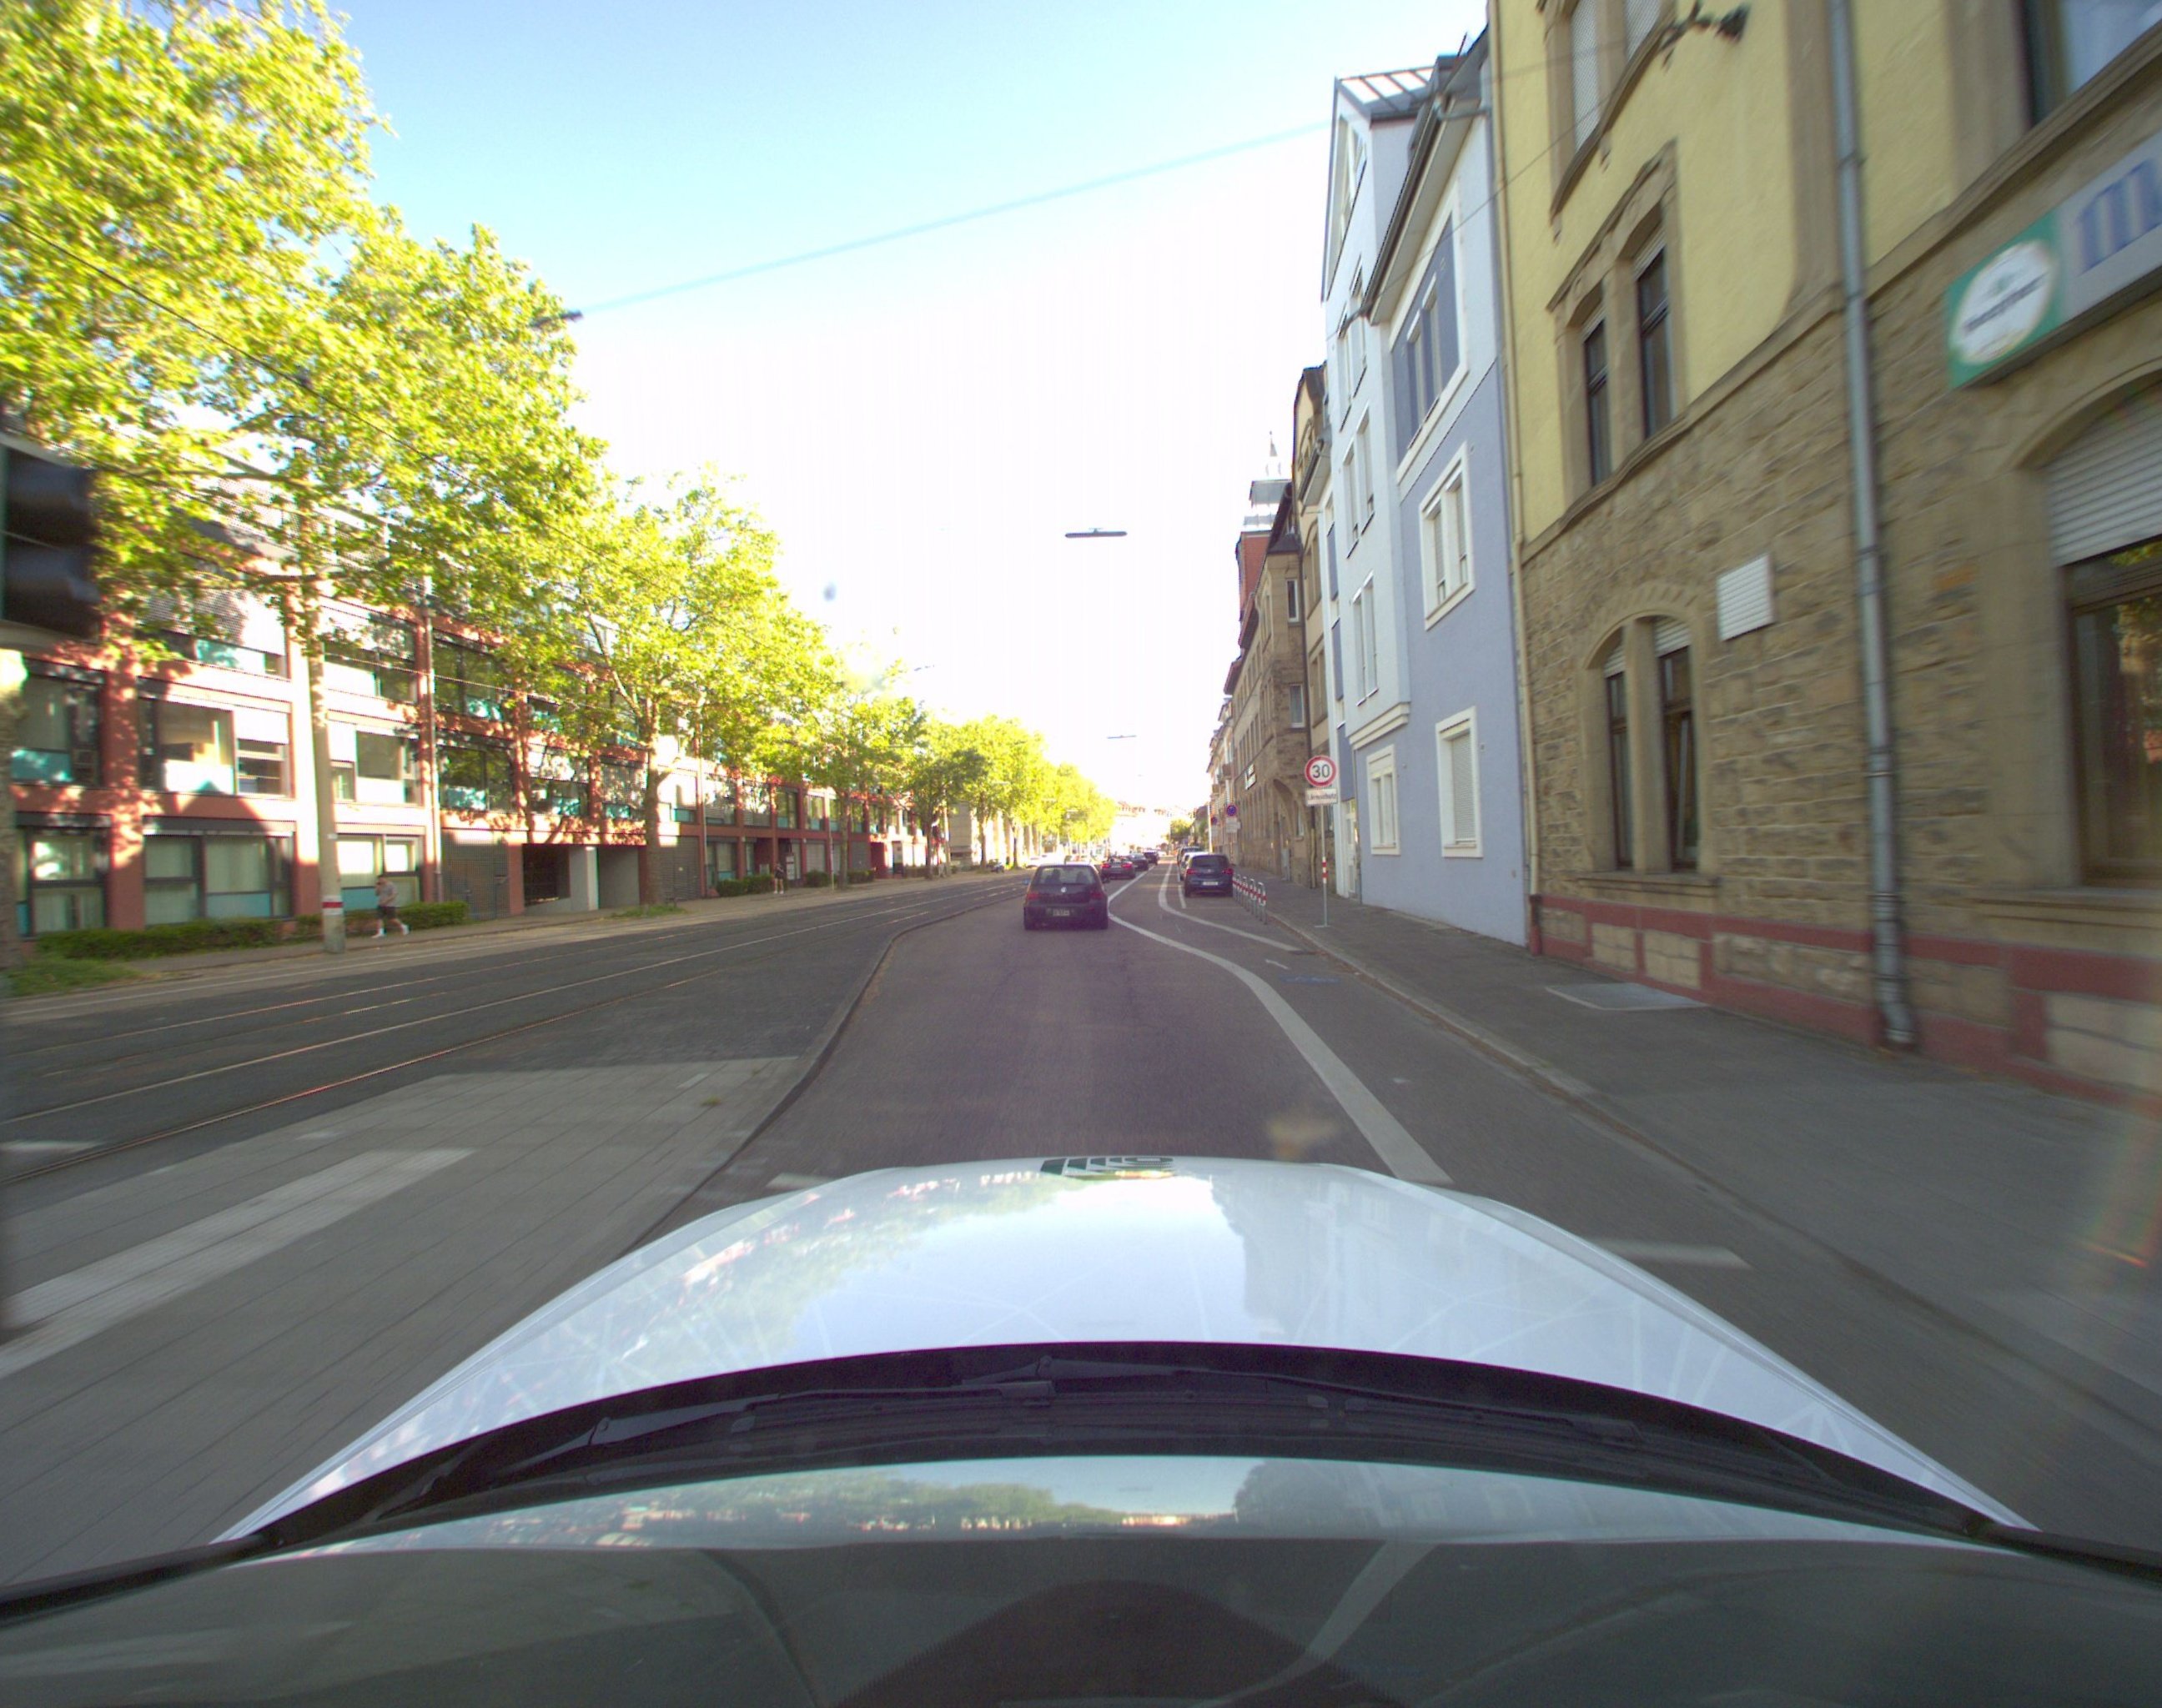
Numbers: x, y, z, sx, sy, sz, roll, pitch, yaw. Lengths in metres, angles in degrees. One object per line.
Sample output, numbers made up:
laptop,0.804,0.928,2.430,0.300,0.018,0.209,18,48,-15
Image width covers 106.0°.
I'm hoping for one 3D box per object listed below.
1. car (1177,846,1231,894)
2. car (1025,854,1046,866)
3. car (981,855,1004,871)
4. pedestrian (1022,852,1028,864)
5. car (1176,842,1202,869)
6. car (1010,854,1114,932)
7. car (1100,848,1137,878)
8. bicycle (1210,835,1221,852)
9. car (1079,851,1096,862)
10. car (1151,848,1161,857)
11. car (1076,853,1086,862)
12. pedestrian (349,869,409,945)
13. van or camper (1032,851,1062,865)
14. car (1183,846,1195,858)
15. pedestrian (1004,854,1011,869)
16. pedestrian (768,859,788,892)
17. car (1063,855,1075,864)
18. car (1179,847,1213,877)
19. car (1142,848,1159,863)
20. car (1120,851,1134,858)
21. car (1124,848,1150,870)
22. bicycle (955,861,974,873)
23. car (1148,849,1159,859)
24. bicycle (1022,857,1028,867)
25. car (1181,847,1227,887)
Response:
car,4.214,0.510,28.263,1.647,1.482,4.007,-2,0,6
car,-6.013,0.789,108.038,2.002,1.572,4.700,-1,1,5
car,-9.083,0.914,83.836,1.499,1.454,3.470,-3,-2,7
pedestrian,-8.810,0.632,127.780,0.792,1.820,0.671,-1,0,6
car,7.826,0.095,59.058,1.743,1.855,4.825,-2,0,7
car,-0.286,0.759,17.656,1.740,1.375,4.006,-3,0,5
car,2.209,0.506,46.544,1.739,1.537,3.899,-3,0,7
bicycle,9.328,-0.703,56.509,0.512,1.139,2.262,-4,0,6
car,1.047,0.379,126.952,1.741,1.518,4.084,-4,0,11
car,13.332,-0.343,143.843,1.627,1.472,3.736,-2,0,7
car,0.006,0.680,158.935,1.562,1.533,3.579,-2,-1,7
pedestrian,-19.183,1.431,22.272,0.908,2.013,0.780,-1,0,-2
van or camper,-4.888,0.579,118.347,2.041,1.949,5.220,-1,1,26
car,16.171,-0.301,122.047,1.750,1.837,3.554,-1,1,6
pedestrian,-8.959,0.924,99.417,0.784,1.870,0.669,-1,0,-8
pedestrian,-16.154,1.156,43.450,0.622,1.718,0.902,-1,0,5
car,-2.088,0.926,142.377,1.562,1.533,3.579,-2,-1,7
car,6.164,0.411,43.906,1.705,1.500,4.234,-1,0,7
car,7.524,0.137,88.342,1.627,1.472,3.736,-2,0,7
car,12.856,0.146,227.847,3.966,2.013,2.004,-1,0,6
car,4.371,0.344,63.577,1.739,1.537,3.899,-3,0,7
bicycle,-12.954,1.400,90.674,1.998,1.278,0.665,-1,0,6
car,11.636,-0.019,129.949,1.627,1.472,3.736,-3,0,7
bicycle,-7.076,0.995,102.527,0.579,1.209,1.654,-1,1,1
car,5.070,0.491,33.755,1.743,1.500,4.205,-1,0,8
